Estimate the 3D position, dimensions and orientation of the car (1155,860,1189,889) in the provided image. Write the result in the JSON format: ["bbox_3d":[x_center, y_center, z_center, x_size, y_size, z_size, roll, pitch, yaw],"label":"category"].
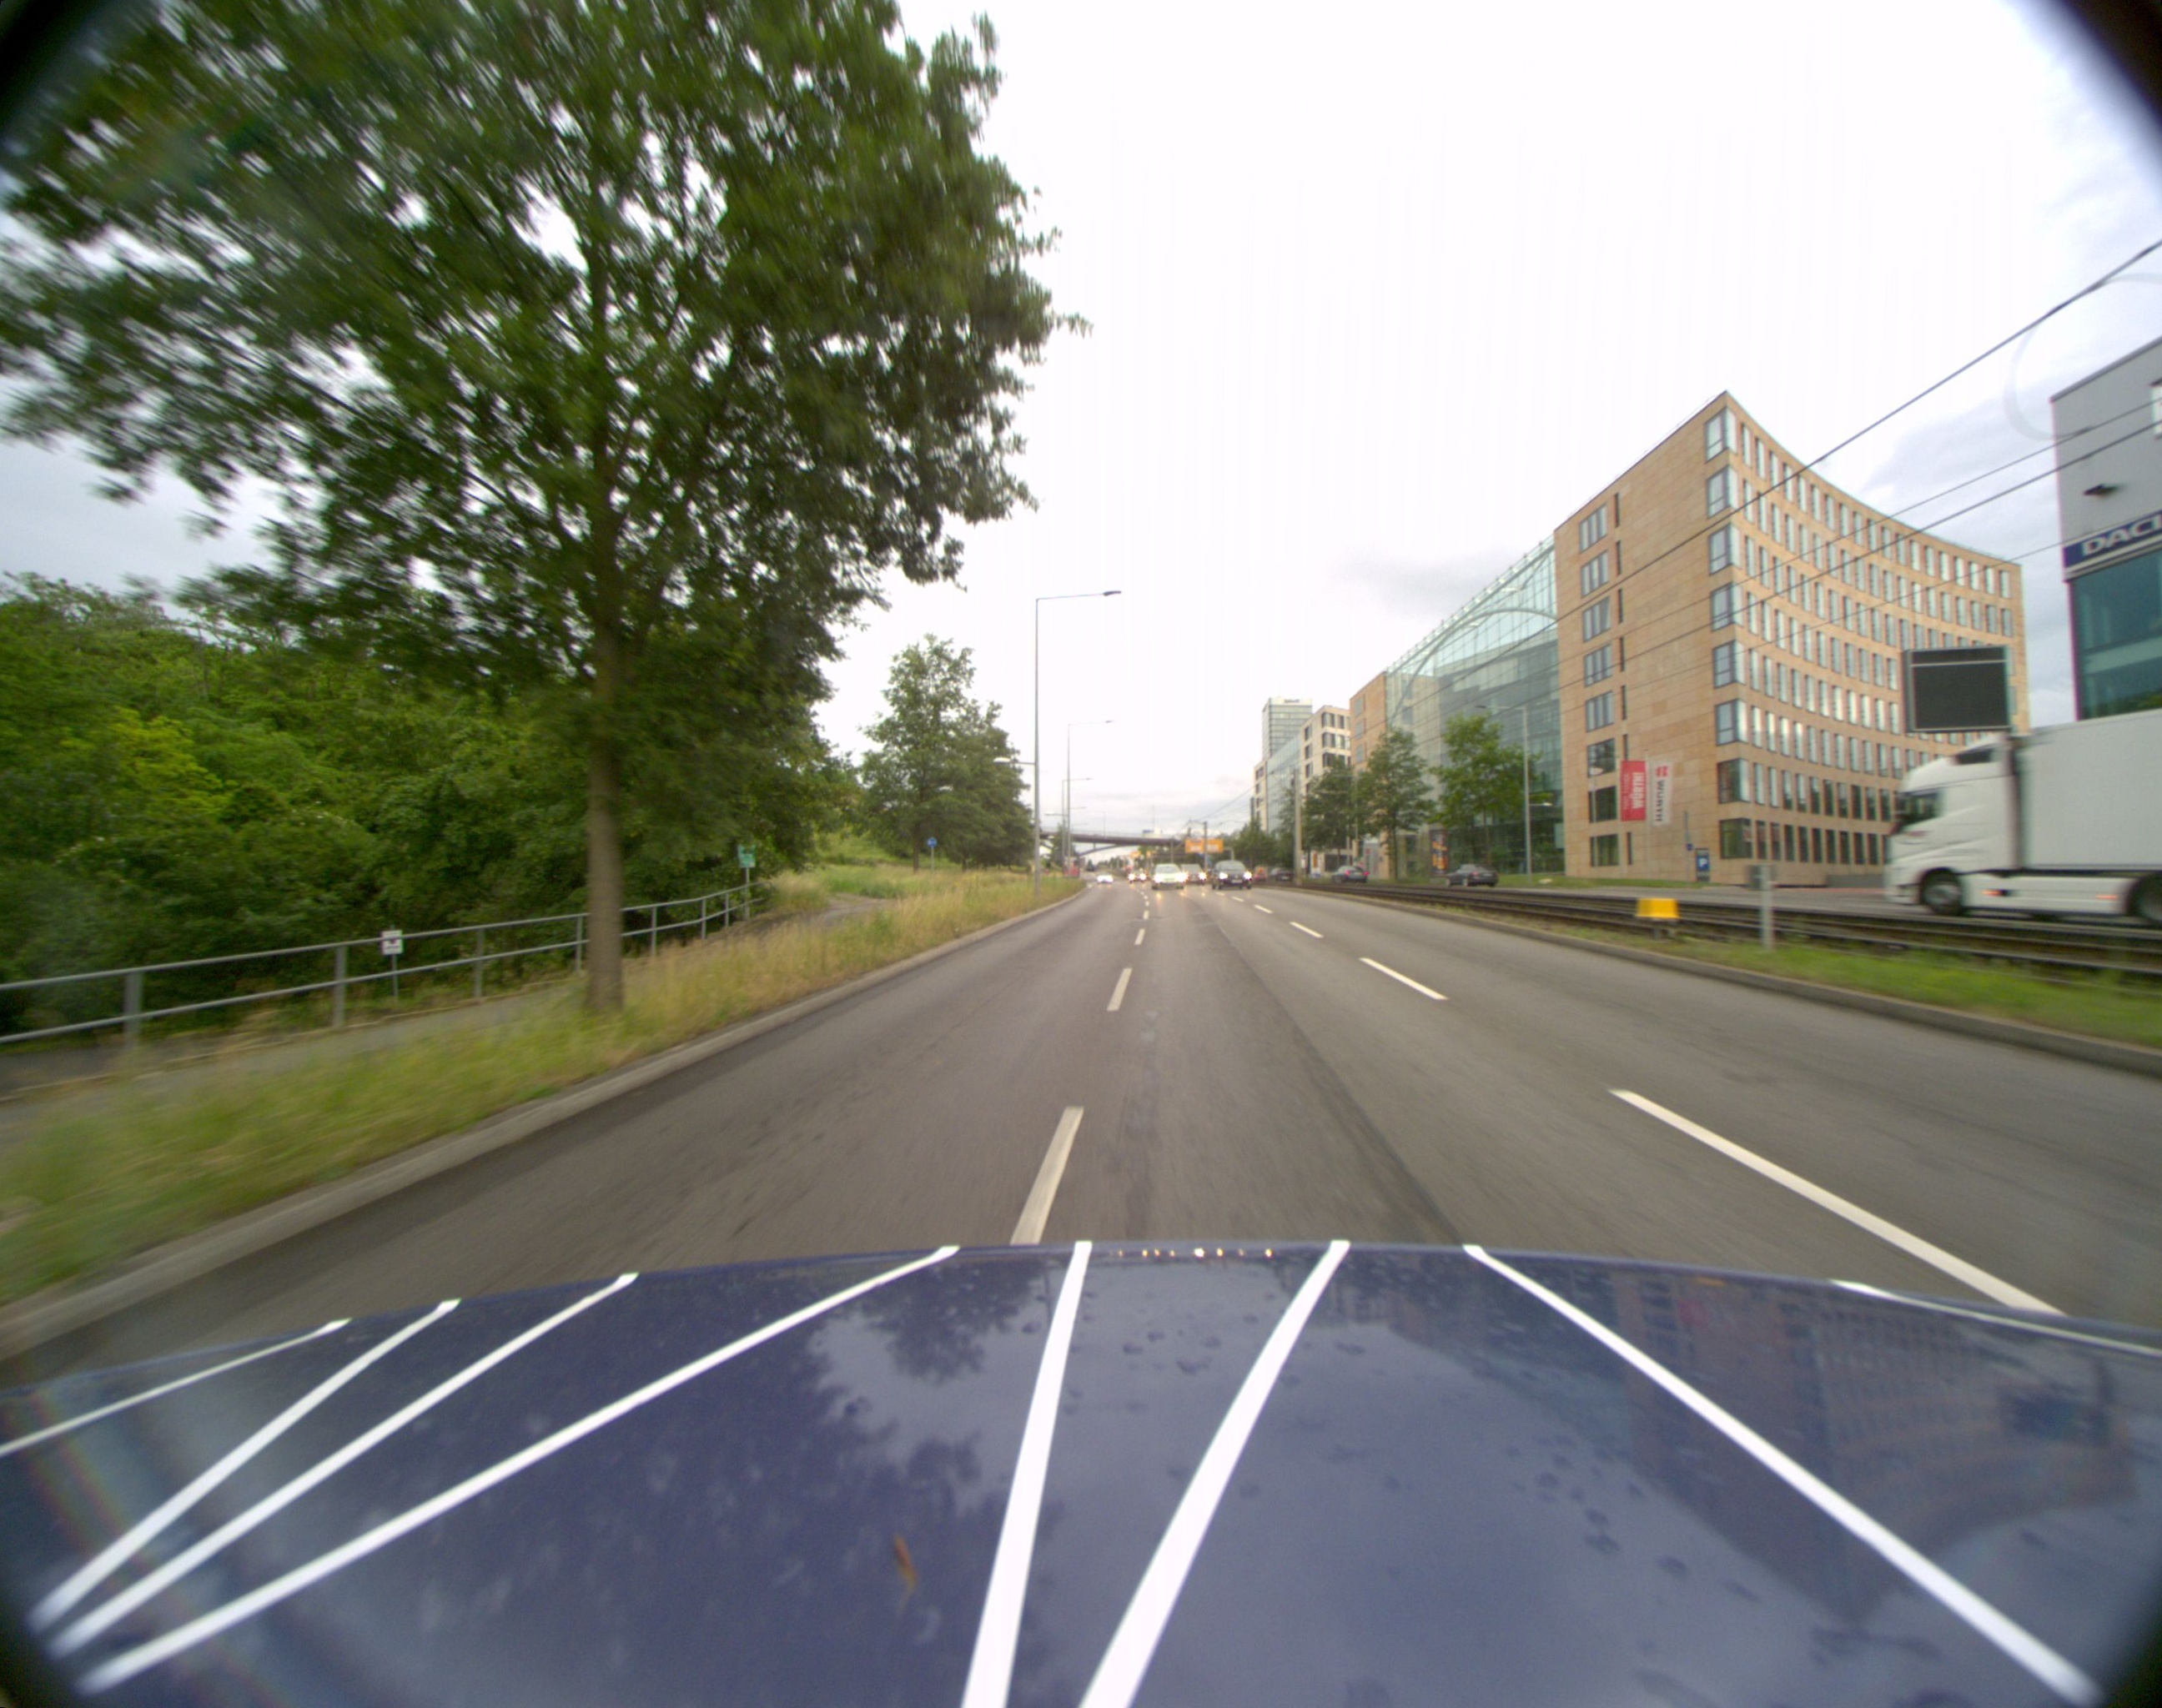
[{"bbox_3d":[5.338,1.175,45.004,1.704,1.523,4.372,-2,0,4],"label":"car"}]

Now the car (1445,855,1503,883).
[{"bbox_3d":[24.591,0.912,47.688,1.630,1.608,4.000,-2,0,1],"label":"car"}]

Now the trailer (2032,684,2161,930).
[{"bbox_3d":[20.195,-0.771,8.357,3.141,4.304,13.283,2,0,3],"label":"trailer"}]

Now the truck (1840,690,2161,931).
[{"bbox_3d":[20.595,-0.744,15.591,3.142,4.219,7.030,1,0,3],"label":"truck"}]

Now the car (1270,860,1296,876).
[{"bbox_3d":[20.079,1.376,75.646,1.688,1.428,4.100,-2,0,3],"label":"car"}]

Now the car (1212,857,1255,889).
[{"bbox_3d":[7.996,0.951,40.077,1.703,1.523,3.828,-2,0,4],"label":"car"}]

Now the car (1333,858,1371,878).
[{"bbox_3d":[20.958,1.030,58.929,1.687,1.428,4.100,-2,0,4],"label":"car"}]

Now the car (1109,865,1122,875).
[{"bbox_3d":[5.393,2.476,118.831,1.785,1.495,4.001,-2,0,6],"label":"car"}]

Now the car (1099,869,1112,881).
[{"bbox_3d":[3.284,2.745,100.520,1.518,1.495,3.167,-2,0,-1],"label":"car"}]

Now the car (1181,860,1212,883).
[{"bbox_3d":[8.674,1.290,57.426,1.786,1.597,4.318,-3,0,2],"label":"car"}]
